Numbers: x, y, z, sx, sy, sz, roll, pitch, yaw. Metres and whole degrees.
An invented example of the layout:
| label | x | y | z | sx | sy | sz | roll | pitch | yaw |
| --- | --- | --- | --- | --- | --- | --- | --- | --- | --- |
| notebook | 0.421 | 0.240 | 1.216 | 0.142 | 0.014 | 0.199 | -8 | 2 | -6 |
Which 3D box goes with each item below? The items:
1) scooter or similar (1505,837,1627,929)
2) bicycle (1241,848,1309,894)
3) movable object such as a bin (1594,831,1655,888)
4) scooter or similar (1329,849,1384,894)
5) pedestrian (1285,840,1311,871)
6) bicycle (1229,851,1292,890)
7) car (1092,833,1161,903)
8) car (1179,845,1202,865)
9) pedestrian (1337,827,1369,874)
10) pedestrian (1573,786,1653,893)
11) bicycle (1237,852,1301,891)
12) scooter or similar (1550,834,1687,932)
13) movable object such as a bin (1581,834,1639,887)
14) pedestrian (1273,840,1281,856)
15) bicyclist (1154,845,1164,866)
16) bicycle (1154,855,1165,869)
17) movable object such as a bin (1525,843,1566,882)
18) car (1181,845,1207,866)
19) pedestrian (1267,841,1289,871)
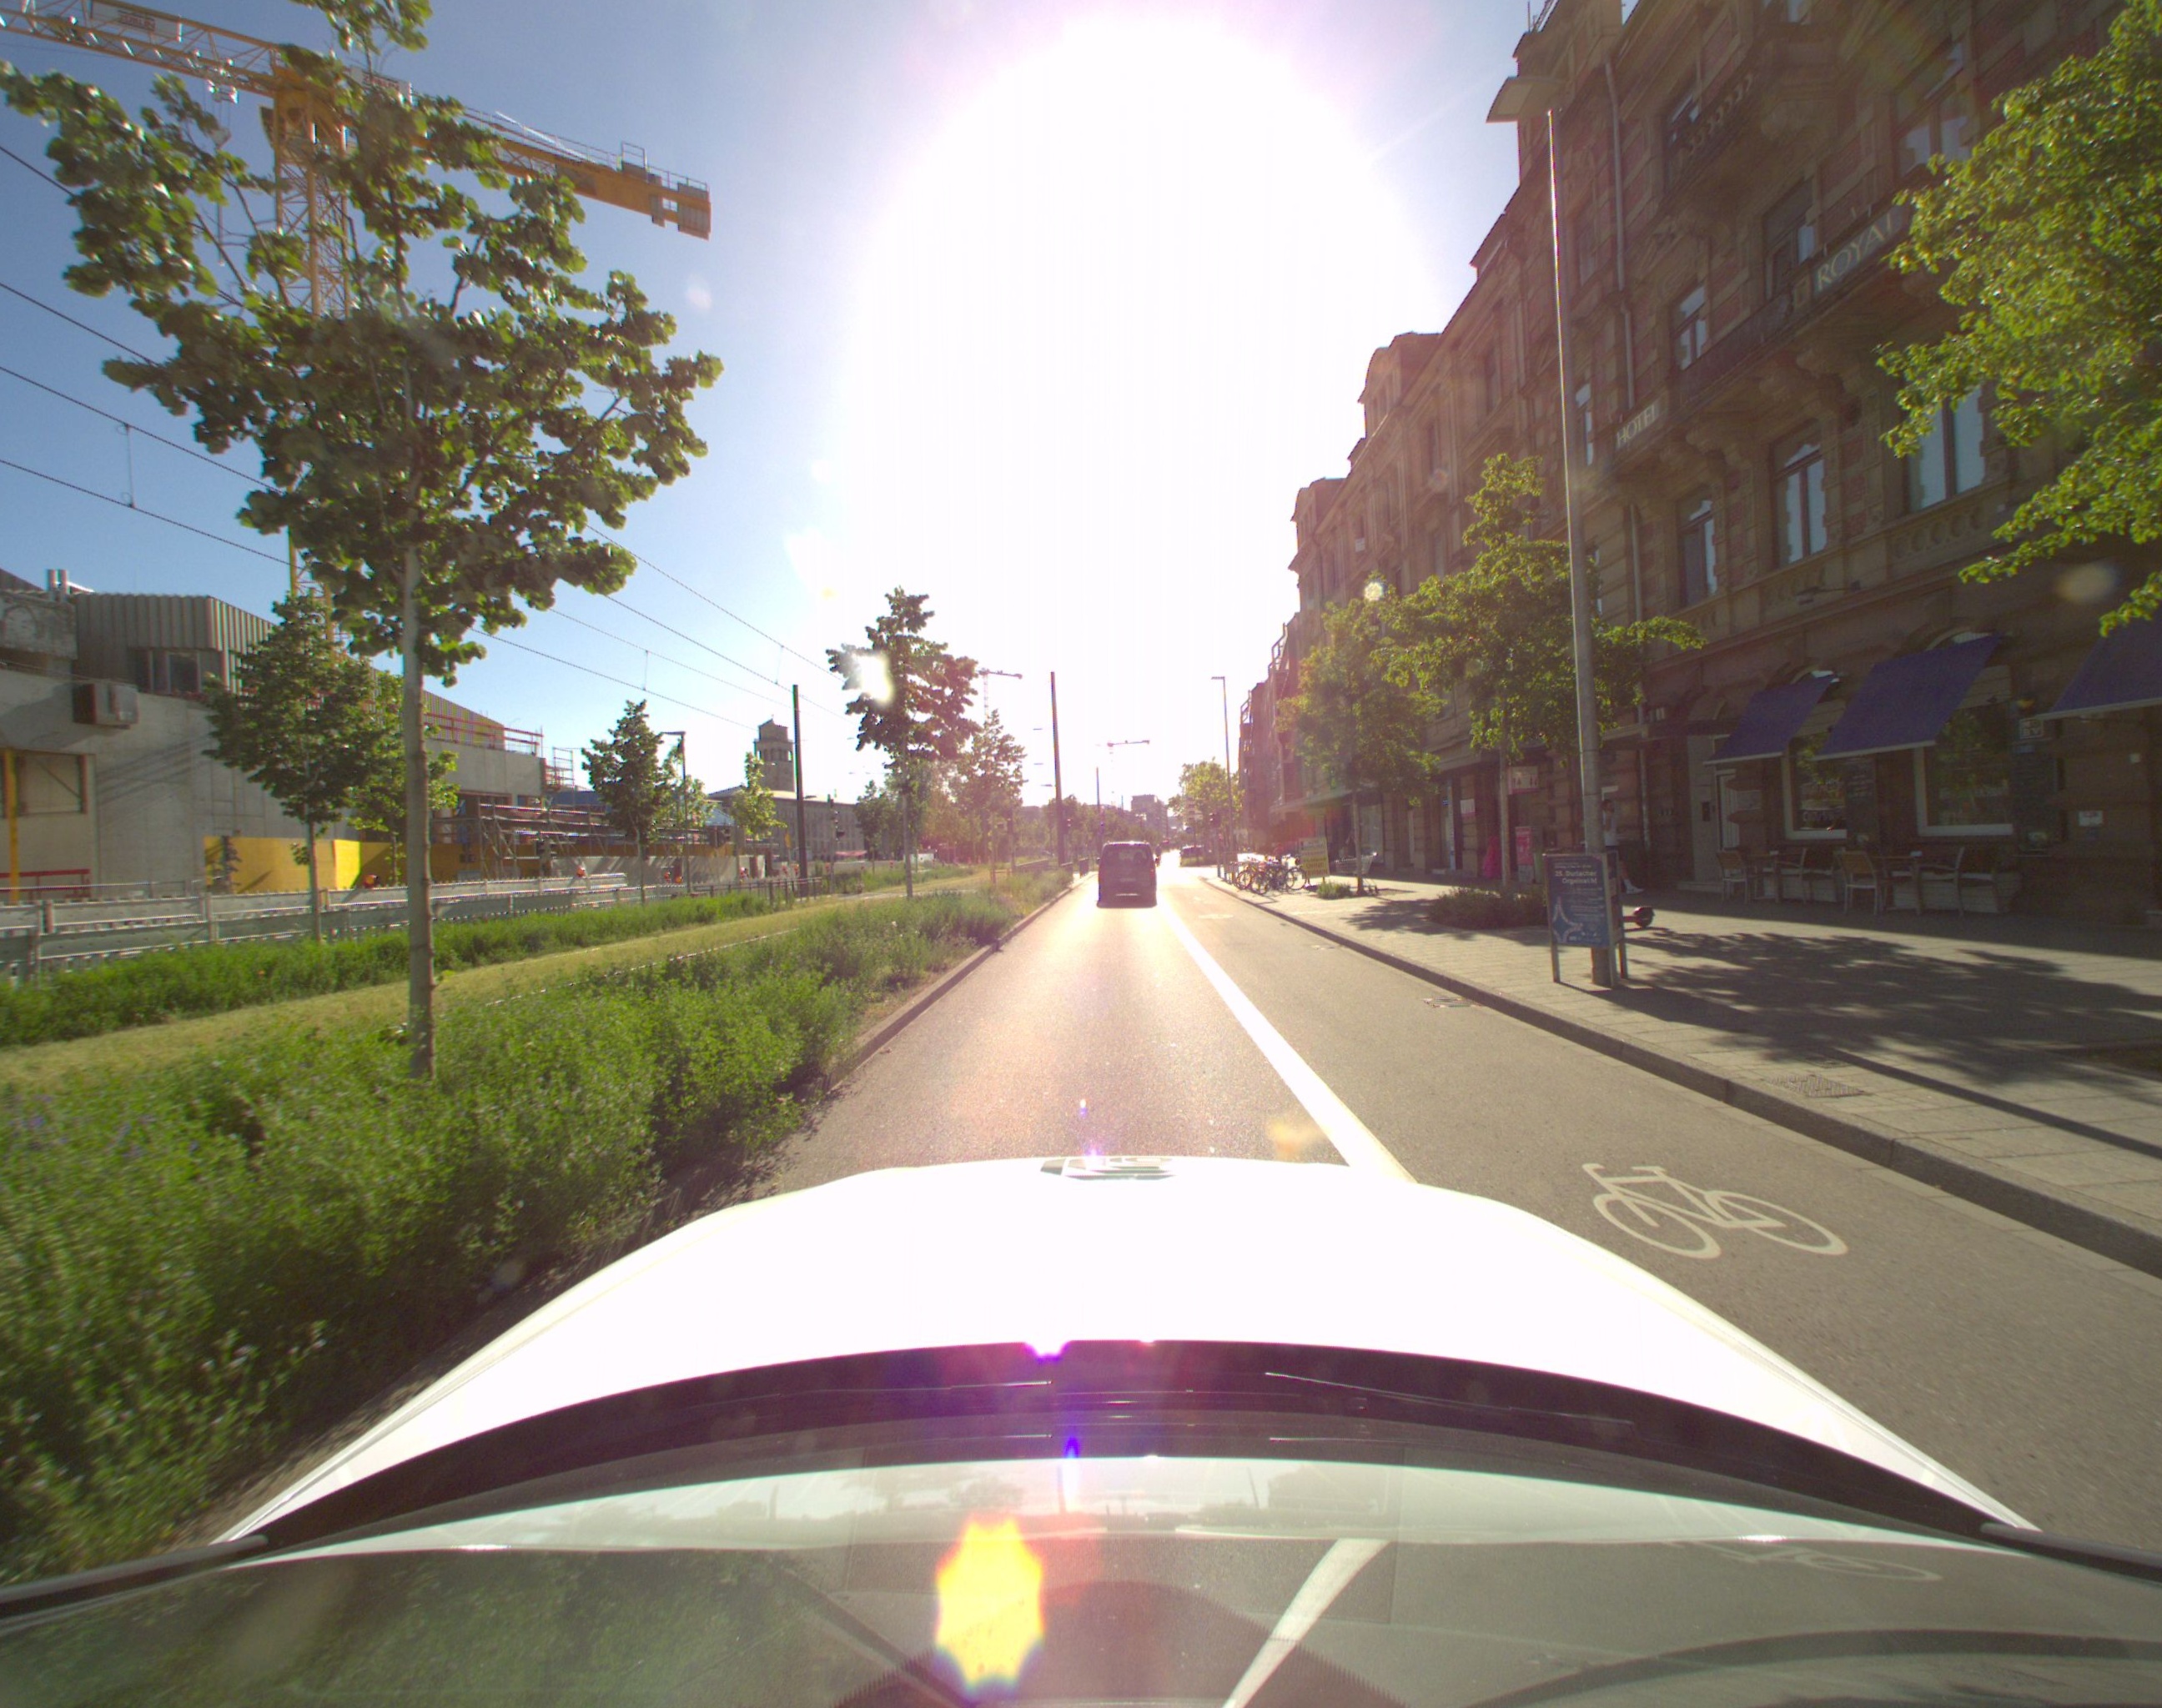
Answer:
| label | x | y | z | sx | sy | sz | roll | pitch | yaw |
| --- | --- | --- | --- | --- | --- | --- | --- | --- | --- |
| scooter or similar | 7.206 | 0.407 | 12.121 | 1.473 | 1.216 | 0.600 | -5 | 1 | -10 |
| bicycle | 5.945 | 0.527 | 24.985 | 1.876 | 1.233 | 0.499 | -5 | -1 | -5 |
| movable object such as a bin | 11.133 | 0.109 | 16.703 | 0.723 | 1.098 | 0.747 | -2 | 0 | -4 |
| scooter or similar | 7.471 | 0.467 | 22.117 | 1.214 | 1.106 | 0.783 | -4 | 0 | 3 |
| pedestrian | 9.908 | 0.070 | 37.210 | 0.829 | 1.287 | 1.008 | -7 | 0 | 2 |
| bicycle | 6.160 | 0.558 | 28.035 | 1.913 | 1.121 | 0.663 | -6 | 0 | -5 |
| car | 1.385 | 0.393 | 26.011 | 1.986 | 2.013 | 4.002 | -1 | 1 | 1 |
| car | 9.845 | 0.107 | 73.451 | 2.011 | 1.722 | 4.126 | -1 | -1 | 6 |
| pedestrian | 10.484 | -0.125 | 31.420 | 0.841 | 1.742 | 0.887 | -3 | -1 | 2 |
| pedestrian | 10.412 | -0.249 | 15.984 | 0.815 | 2.014 | 1.046 | -1 | -3 | 1 |
| bicycle | 6.110 | 0.573 | 26.518 | 1.822 | 1.078 | 0.663 | -5 | 0 | -5 |
| scooter or similar | 7.483 | 0.388 | 11.371 | 1.470 | 1.216 | 0.601 | -5 | 1 | -3 |
| movable object such as a bin | 11.331 | 0.132 | 17.469 | 0.723 | 1.098 | 0.747 | -2 | 0 | -4 |
| pedestrian | 20.698 | -0.663 | 86.125 | 0.695 | 1.652 | 0.726 | -2 | 0 | 9 |
| bicyclist | 6.110 | 0.111 | 63.619 | 0.680 | 1.584 | 0.840 | -2 | 0 | 1 |
| bicycle | 6.137 | 0.618 | 63.679 | 0.699 | 1.091 | 2.277 | -2 | 0 | 1 |
| movable object such as a bin | 11.398 | 0.202 | 20.002 | 0.603 | 0.916 | 0.650 | -2 | 0 | -3 |
| car | 9.257 | 0.169 | 67.139 | 1.978 | 1.638 | 4.196 | -1 | -1 | 6 |
| pedestrian | 9.254 | 0.104 | 38.261 | 0.700 | 1.336 | 1.012 | -6 | -1 | 2 |
